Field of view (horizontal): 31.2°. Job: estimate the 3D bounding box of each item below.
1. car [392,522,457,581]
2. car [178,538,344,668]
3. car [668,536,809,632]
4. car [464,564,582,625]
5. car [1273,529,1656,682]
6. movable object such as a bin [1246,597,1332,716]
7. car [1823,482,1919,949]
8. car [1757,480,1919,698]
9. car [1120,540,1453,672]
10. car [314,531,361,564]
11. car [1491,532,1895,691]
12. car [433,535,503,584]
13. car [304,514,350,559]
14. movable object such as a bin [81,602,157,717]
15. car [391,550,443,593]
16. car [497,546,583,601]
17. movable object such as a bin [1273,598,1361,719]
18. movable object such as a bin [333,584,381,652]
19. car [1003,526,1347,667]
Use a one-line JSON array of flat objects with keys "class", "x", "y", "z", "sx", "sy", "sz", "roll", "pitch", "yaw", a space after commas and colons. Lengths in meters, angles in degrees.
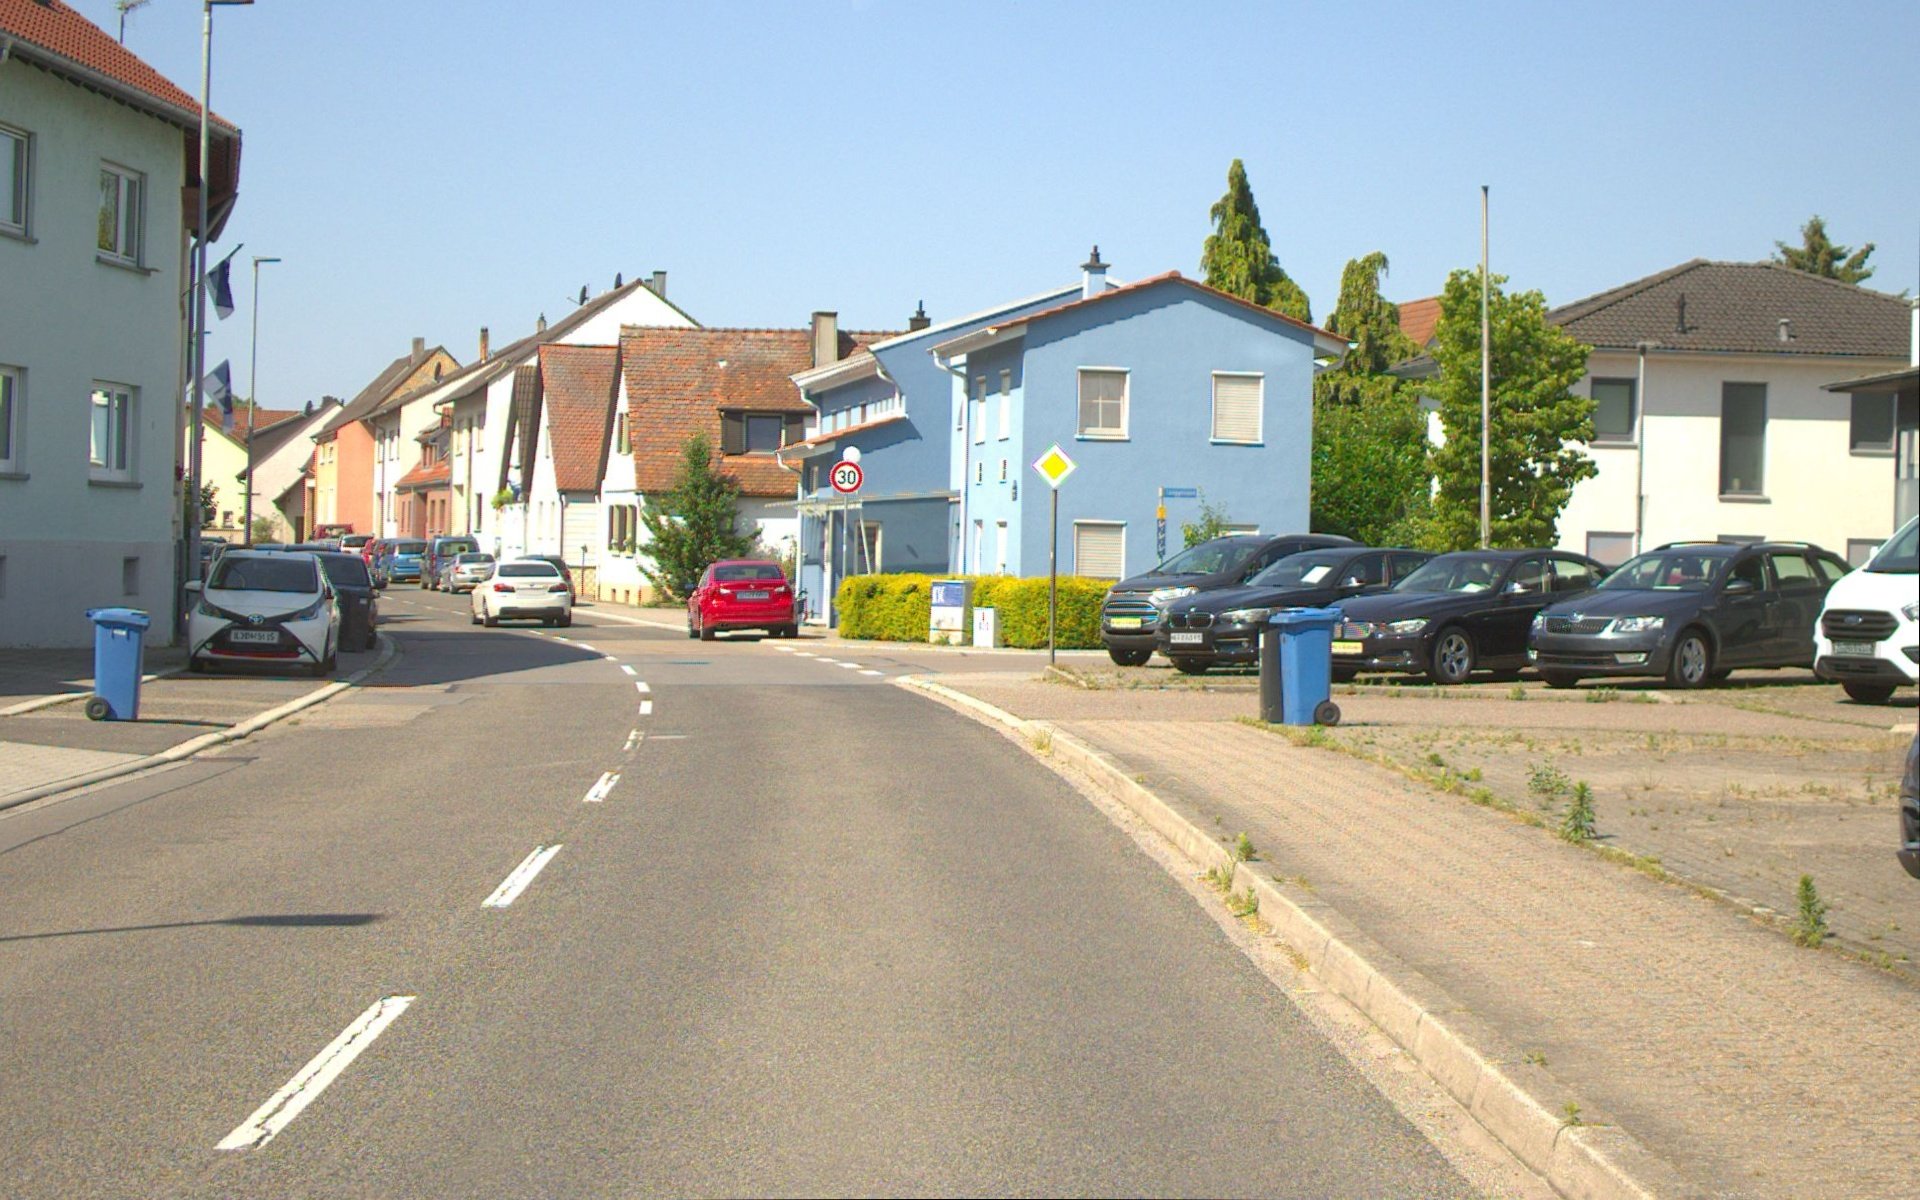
[{"class": "car", "x": -17.922, "y": -1.635, "z": 114.884, "sx": 1.649, "sy": 1.903, "sz": 3.627, "roll": 2, "pitch": 0, "yaw": -16}, {"class": "car", "x": -8.389, "y": 0.019, "z": 41.494, "sx": 1.683, "sy": 1.457, "sz": 3.650, "roll": 2, "pitch": 0, "yaw": -8}, {"class": "car", "x": -4.097, "y": -0.328, "z": 63.048, "sx": 1.732, "sy": 1.489, "sz": 4.357, "roll": -1, "pitch": 4, "yaw": -15}, {"class": "car", "x": -9.627, "y": -0.142, "z": 75.497, "sx": 1.993, "sy": 1.284, "sz": 4.001, "roll": 0, "pitch": 1, "yaw": -16}, {"class": "car", "x": 5.538, "y": 0.031, "z": 37.440, "sx": 4.228, "sy": 1.560, "sz": 1.983, "roll": 0, "pitch": 1, "yaw": -45}, {"class": "movable object such as a bin", "x": 2.646, "y": 0.450, "z": 27.662, "sx": 0.557, "sy": 0.933, "sz": 0.515, "roll": 0, "pitch": 1, "yaw": -11}, {"class": "car", "x": 5.131, "y": 0.355, "z": 11.092, "sx": 4.177, "sy": 1.550, "sz": 1.771, "roll": -1, "pitch": 0, "yaw": 36}, {"class": "car", "x": 10.666, "y": -0.126, "z": 33.867, "sx": 5.268, "sy": 2.007, "sz": 2.232, "roll": 0, "pitch": 1, "yaw": -27}, {"class": "car", "x": 3.800, "y": 0.040, "z": 39.607, "sx": 3.863, "sy": 1.442, "sz": 1.750, "roll": 0, "pitch": 1, "yaw": -45}, {"class": "car", "x": -27.410, "y": -2.315, "z": 151.303, "sx": 1.766, "sy": 1.428, "sz": 3.451, "roll": 0, "pitch": 1, "yaw": -15}, {"class": "car", "x": 7.654, "y": 0.089, "z": 35.716, "sx": 4.305, "sy": 1.545, "sz": 1.983, "roll": 0, "pitch": 1, "yaw": -43}, {"class": "car", "x": -15.817, "y": -1.297, "z": 110.384, "sx": 1.704, "sy": 1.491, "sz": 3.453, "roll": 2, "pitch": 0, "yaw": -16}, {"class": "car", "x": -28.762, "y": -2.870, "z": 156.167, "sx": 1.766, "sy": 1.997, "sz": 3.451, "roll": 0, "pitch": 1, "yaw": -15}, {"class": "movable object such as a bin", "x": -7.097, "y": 0.498, "z": 29.018, "sx": 0.557, "sy": 0.933, "sz": 0.515, "roll": 3, "pitch": 0, "yaw": -11}, {"class": "car", "x": -19.865, "y": -1.043, "z": 125.756, "sx": 1.420, "sy": 1.510, "sz": 3.305, "roll": 2, "pitch": 0, "yaw": -16}, {"class": "car", "x": -11.499, "y": -0.737, "z": 94.027, "sx": 1.704, "sy": 1.428, "sz": 3.891, "roll": 2, "pitch": 1, "yaw": -16}, {"class": "movable object such as a bin", "x": 2.812, "y": 0.457, "z": 27.136, "sx": 0.557, "sy": 0.936, "sz": 0.515, "roll": 0, "pitch": 1, "yaw": -11}, {"class": "movable object such as a bin", "x": -8.865, "y": 0.260, "z": 50.535, "sx": 0.551, "sy": 0.925, "sz": 0.826, "roll": 5, "pitch": 0, "yaw": -15}, {"class": "car", "x": 2.675, "y": -0.067, "z": 42.276, "sx": 4.102, "sy": 1.647, "sz": 1.830, "roll": 0, "pitch": 1, "yaw": -41}]
